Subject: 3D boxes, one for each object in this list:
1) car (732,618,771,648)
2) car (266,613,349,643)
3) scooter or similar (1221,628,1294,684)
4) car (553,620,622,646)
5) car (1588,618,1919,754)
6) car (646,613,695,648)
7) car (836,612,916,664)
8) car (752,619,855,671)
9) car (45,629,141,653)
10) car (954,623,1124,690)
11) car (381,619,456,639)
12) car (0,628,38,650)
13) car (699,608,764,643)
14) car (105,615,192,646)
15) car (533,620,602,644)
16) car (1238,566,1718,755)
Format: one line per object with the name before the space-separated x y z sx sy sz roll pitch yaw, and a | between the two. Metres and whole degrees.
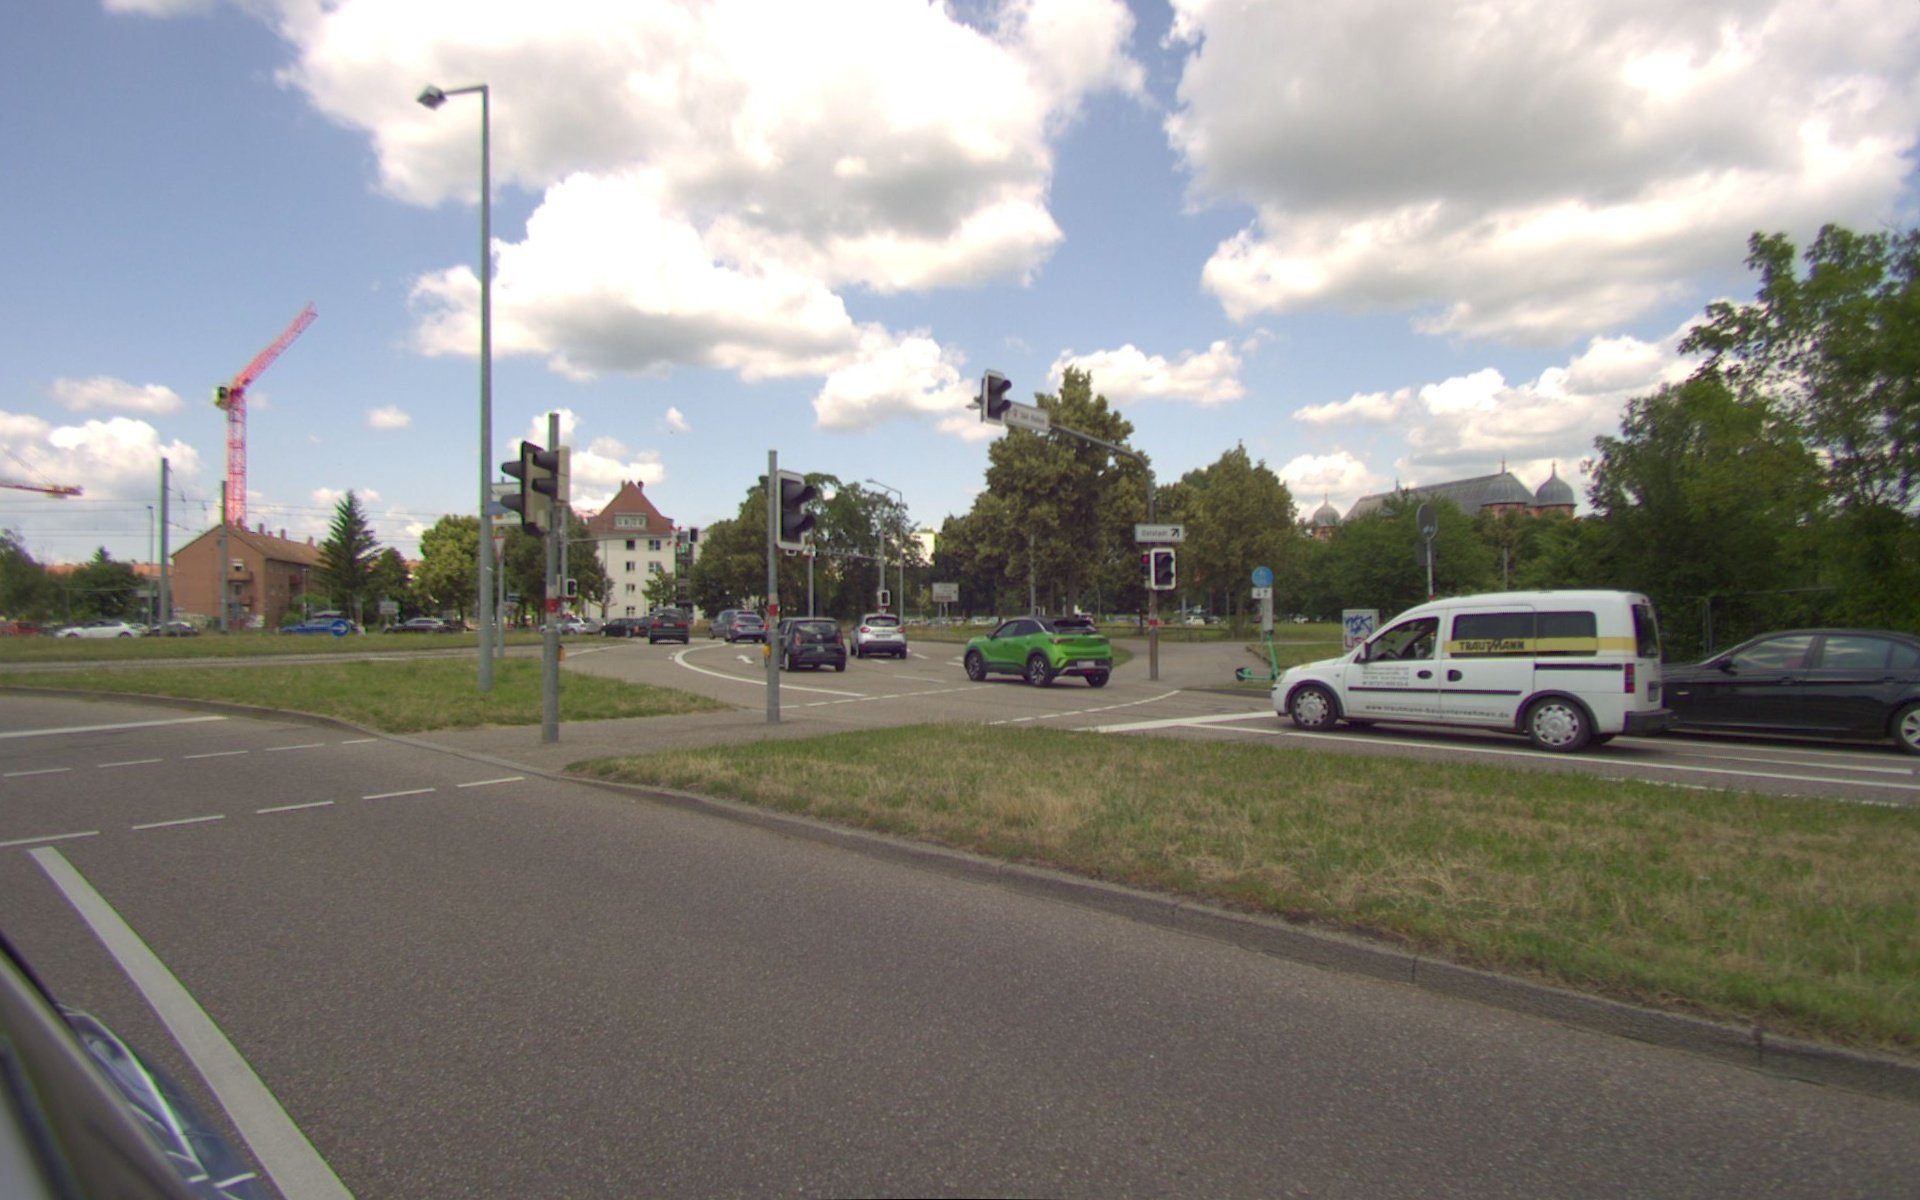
car | -10.676 1.639 51.648 1.880 1.434 4.202 0 -1 -13
car | -43.463 1.859 67.507 4.335 1.812 1.760 -1 -1 -13
scooter or similar | 6.515 1.211 22.185 0.534 1.175 1.442 0 -1 -43
car | -27.798 2.450 75.459 4.630 1.834 2.110 -2 -1 22
car | 10.329 0.976 12.175 4.421 1.454 1.817 -1 -3 44
car | -13.772 1.419 48.341 1.882 1.604 4.603 0 -1 -11
car | -3.082 1.308 36.225 1.966 1.699 4.801 0 -1 -16
car | -4.489 1.241 28.424 1.812 1.320 4.803 2 -2 -22
car | -53.674 2.520 62.788 4.238 1.339 2.006 0 -1 -31
car | 1.656 1.227 22.661 1.594 1.358 4.182 2 -3 -33
car | -39.099 2.076 73.143 4.435 1.333 1.951 -1 -1 6
car | -84.766 3.449 89.951 5.147 1.866 2.073 -2 -1 21
car | -13.787 1.515 60.820 1.967 2.029 4.798 0 -1 -37
car | -56.447 2.074 70.432 4.652 2.029 2.003 0 -2 -42
car | -27.494 2.255 70.926 4.485 1.533 2.104 -2 -1 27
car | 5.929 0.655 12.071 4.789 1.813 1.817 -1 -3 44
